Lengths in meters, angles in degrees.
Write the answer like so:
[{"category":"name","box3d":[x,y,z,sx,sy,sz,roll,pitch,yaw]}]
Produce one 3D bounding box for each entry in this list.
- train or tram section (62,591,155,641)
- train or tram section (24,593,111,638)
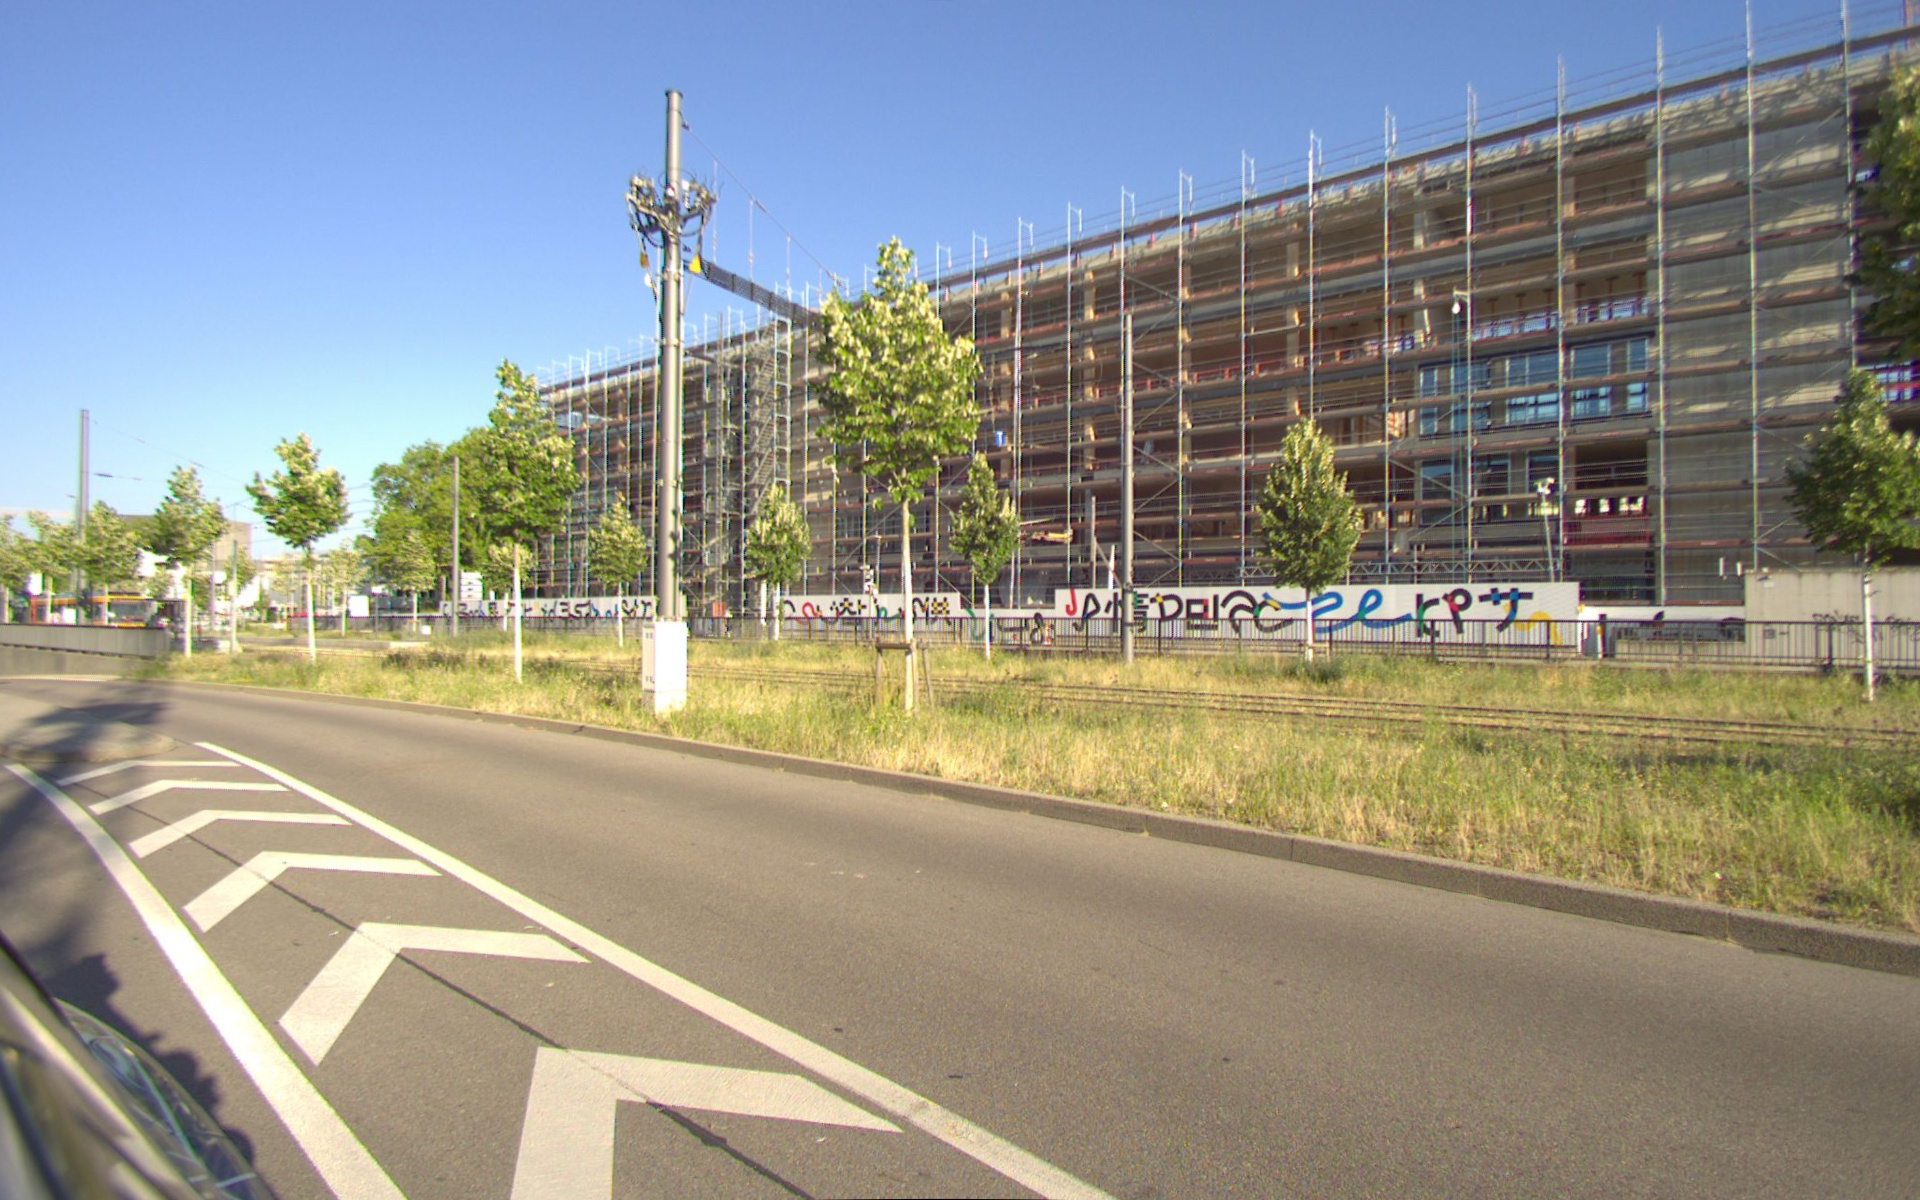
[{"category":"train or tram section","box3d":[-62.727,1.126,74.386,12.619,3.423,2.917,-1,0,39]},{"category":"train or tram section","box3d":[-73.344,1.253,82.997,14.749,3.423,2.917,-1,0,39]}]
